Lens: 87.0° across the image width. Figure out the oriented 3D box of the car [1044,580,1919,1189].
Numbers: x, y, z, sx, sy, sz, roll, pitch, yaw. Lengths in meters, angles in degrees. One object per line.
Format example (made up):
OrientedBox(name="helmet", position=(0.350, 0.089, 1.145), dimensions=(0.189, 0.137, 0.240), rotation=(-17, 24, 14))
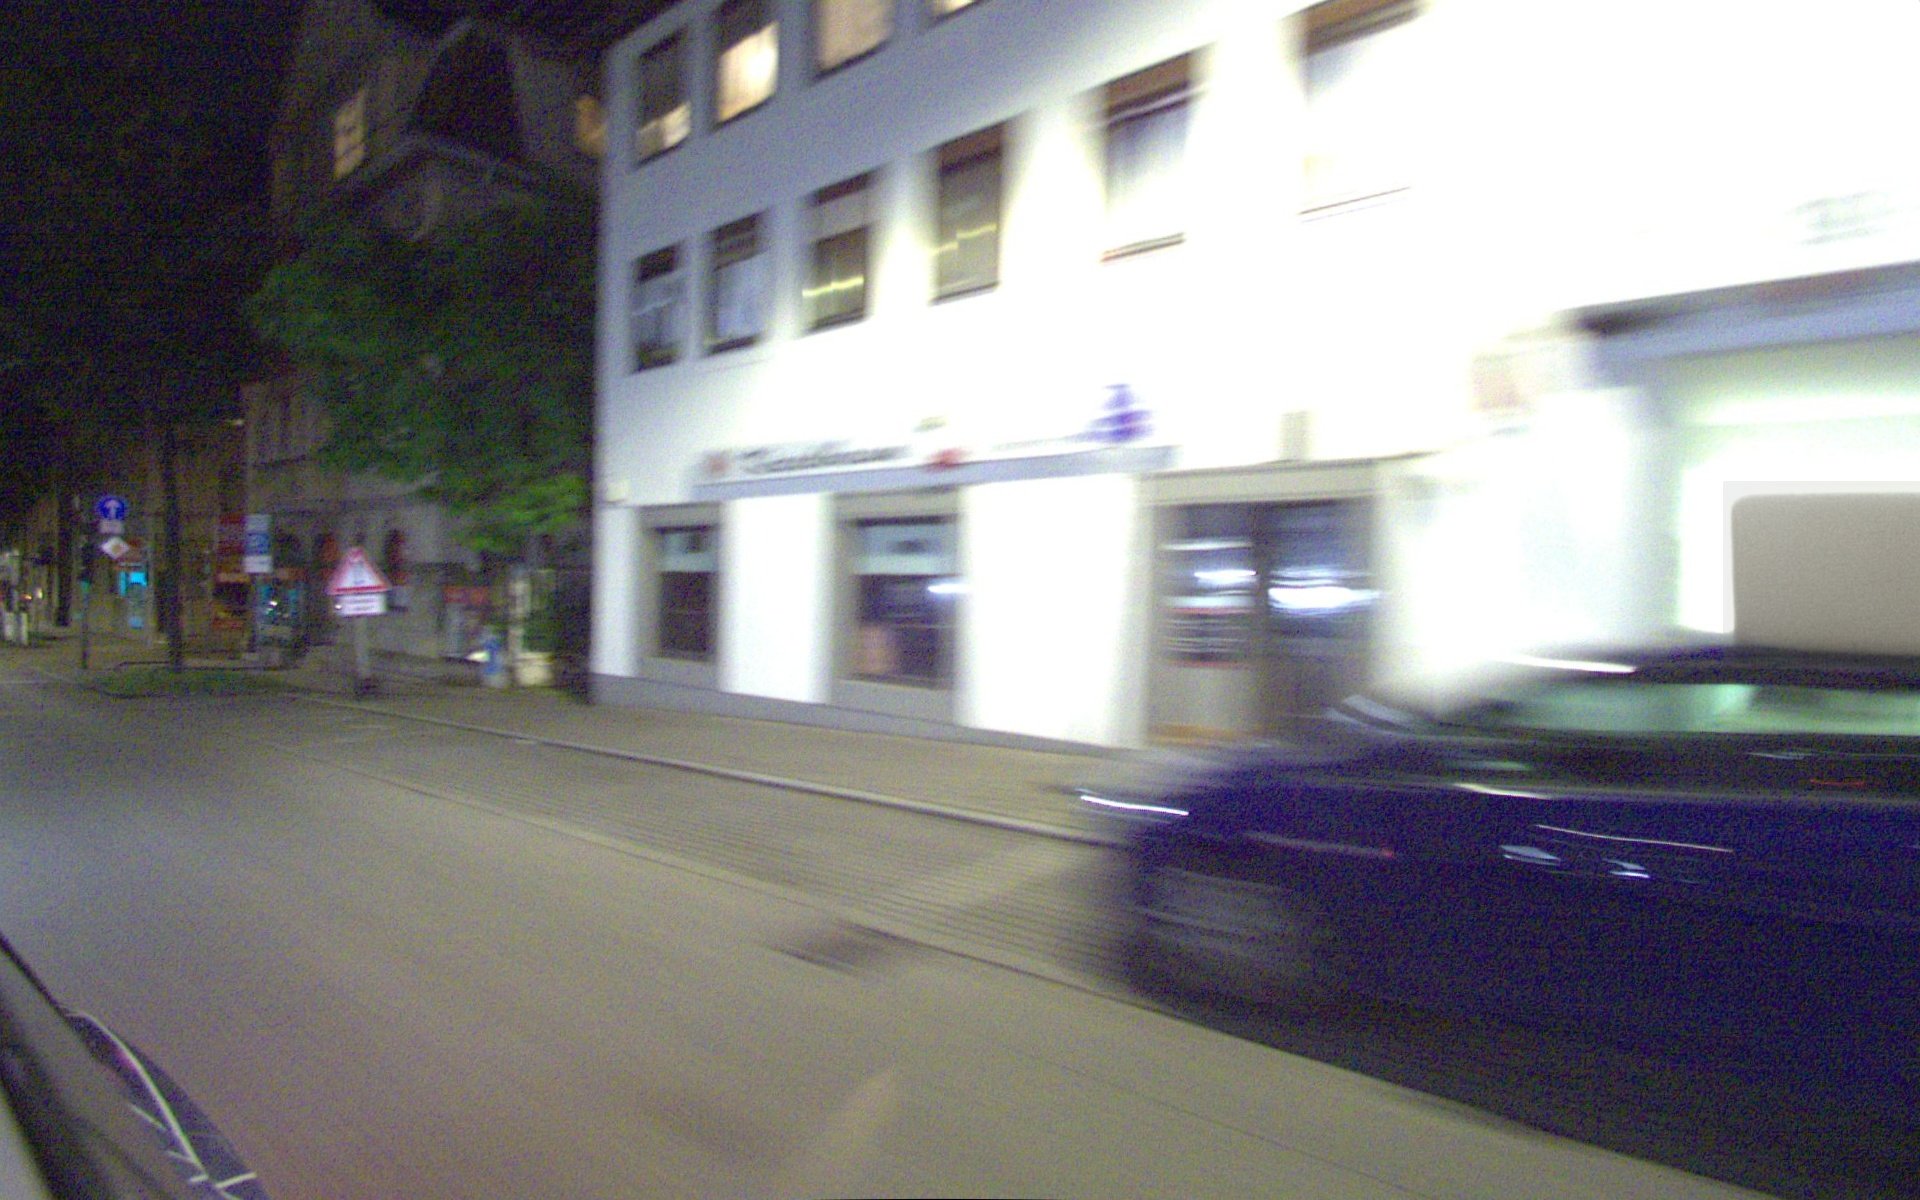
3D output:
OrientedBox(name="car", position=(2.531, 0.693, 3.465), dimensions=(4.289, 1.497, 1.709), rotation=(-1, 0, 41))
